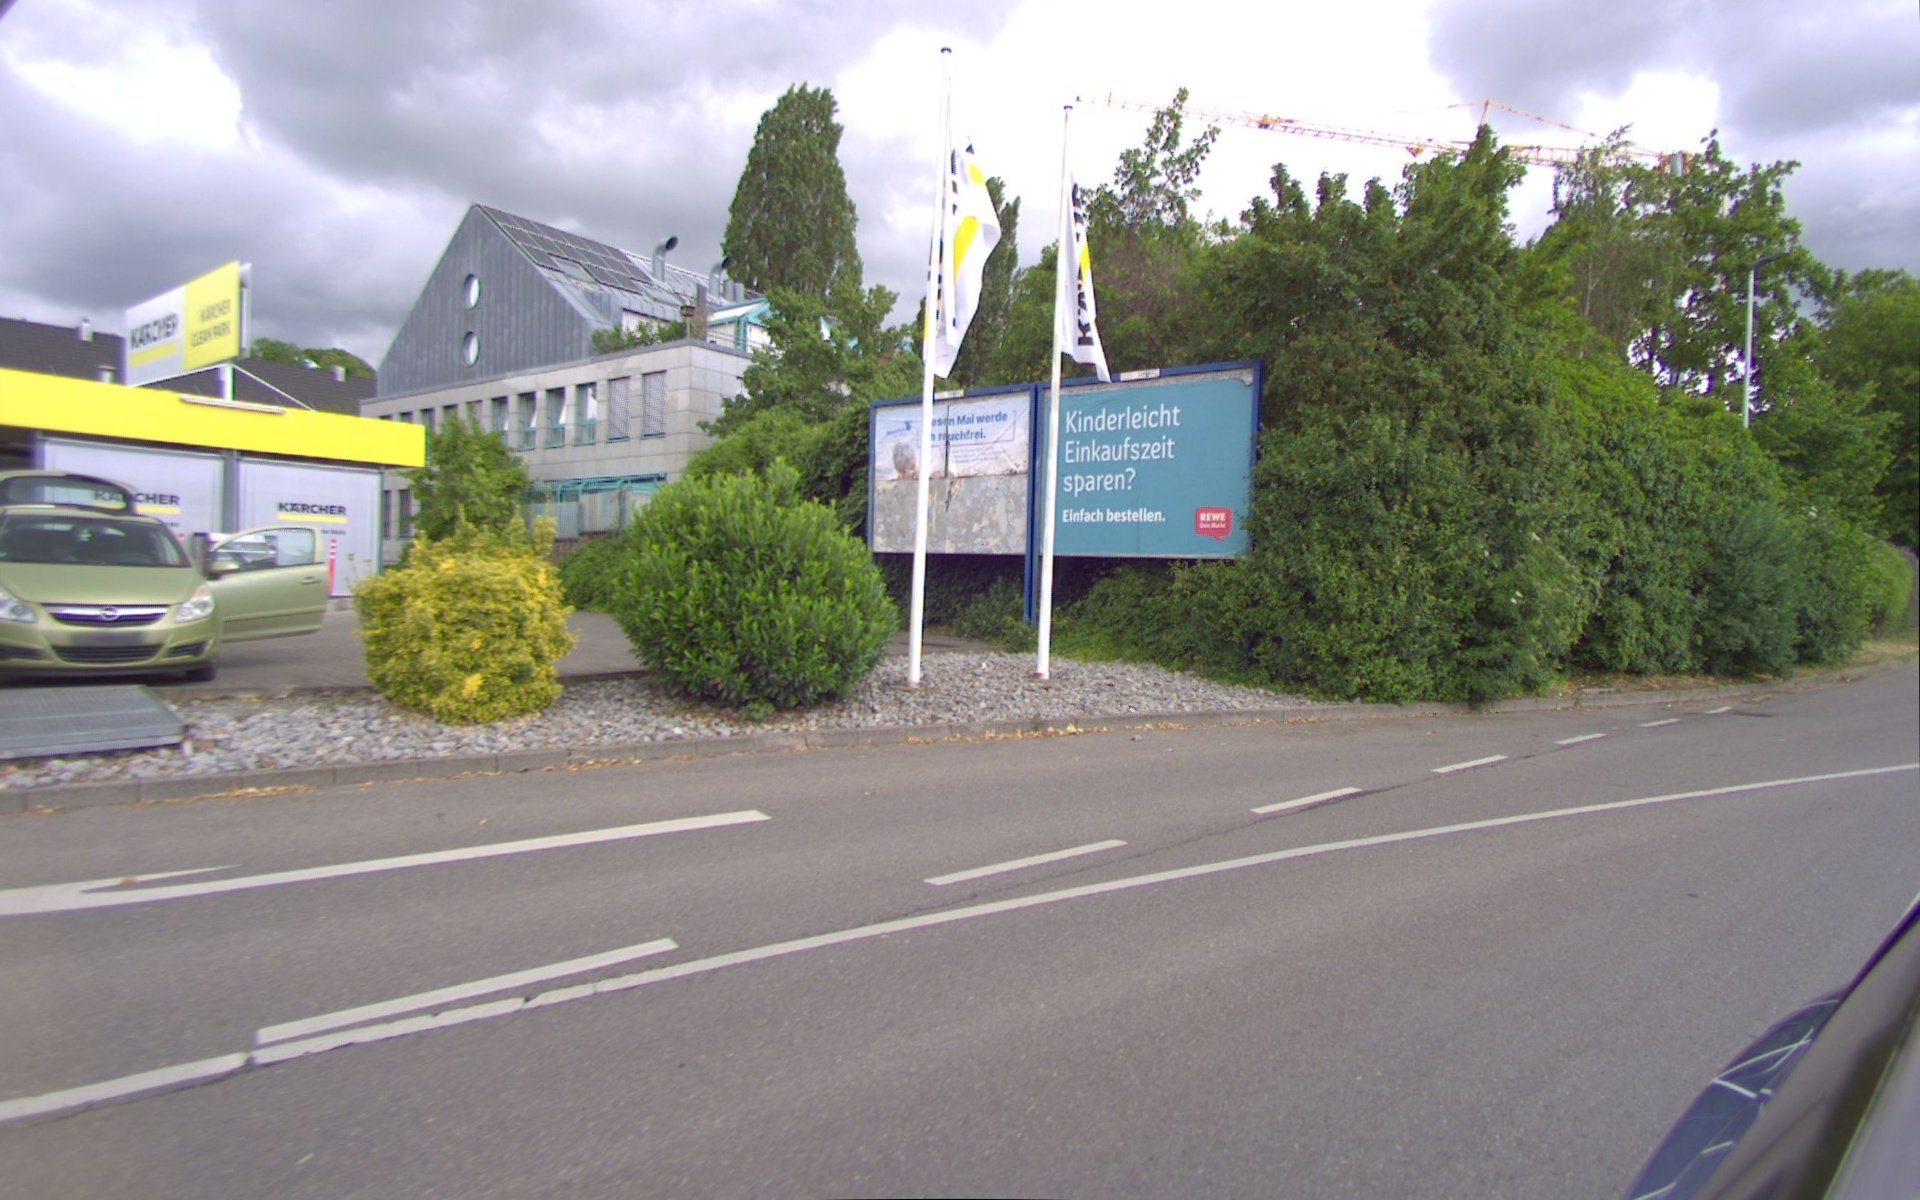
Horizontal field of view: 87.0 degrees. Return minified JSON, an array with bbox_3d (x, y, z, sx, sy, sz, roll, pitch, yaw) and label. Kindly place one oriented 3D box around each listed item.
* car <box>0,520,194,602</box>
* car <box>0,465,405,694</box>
[{"bbox_3d":[-18.729,-0.801,21.232,1.828,1.593,3.880,3,2,36],"label":"car"},{"bbox_3d":[-7.669,-0.240,9.719,4.014,1.676,2.902,3,2,41],"label":"car"}]
